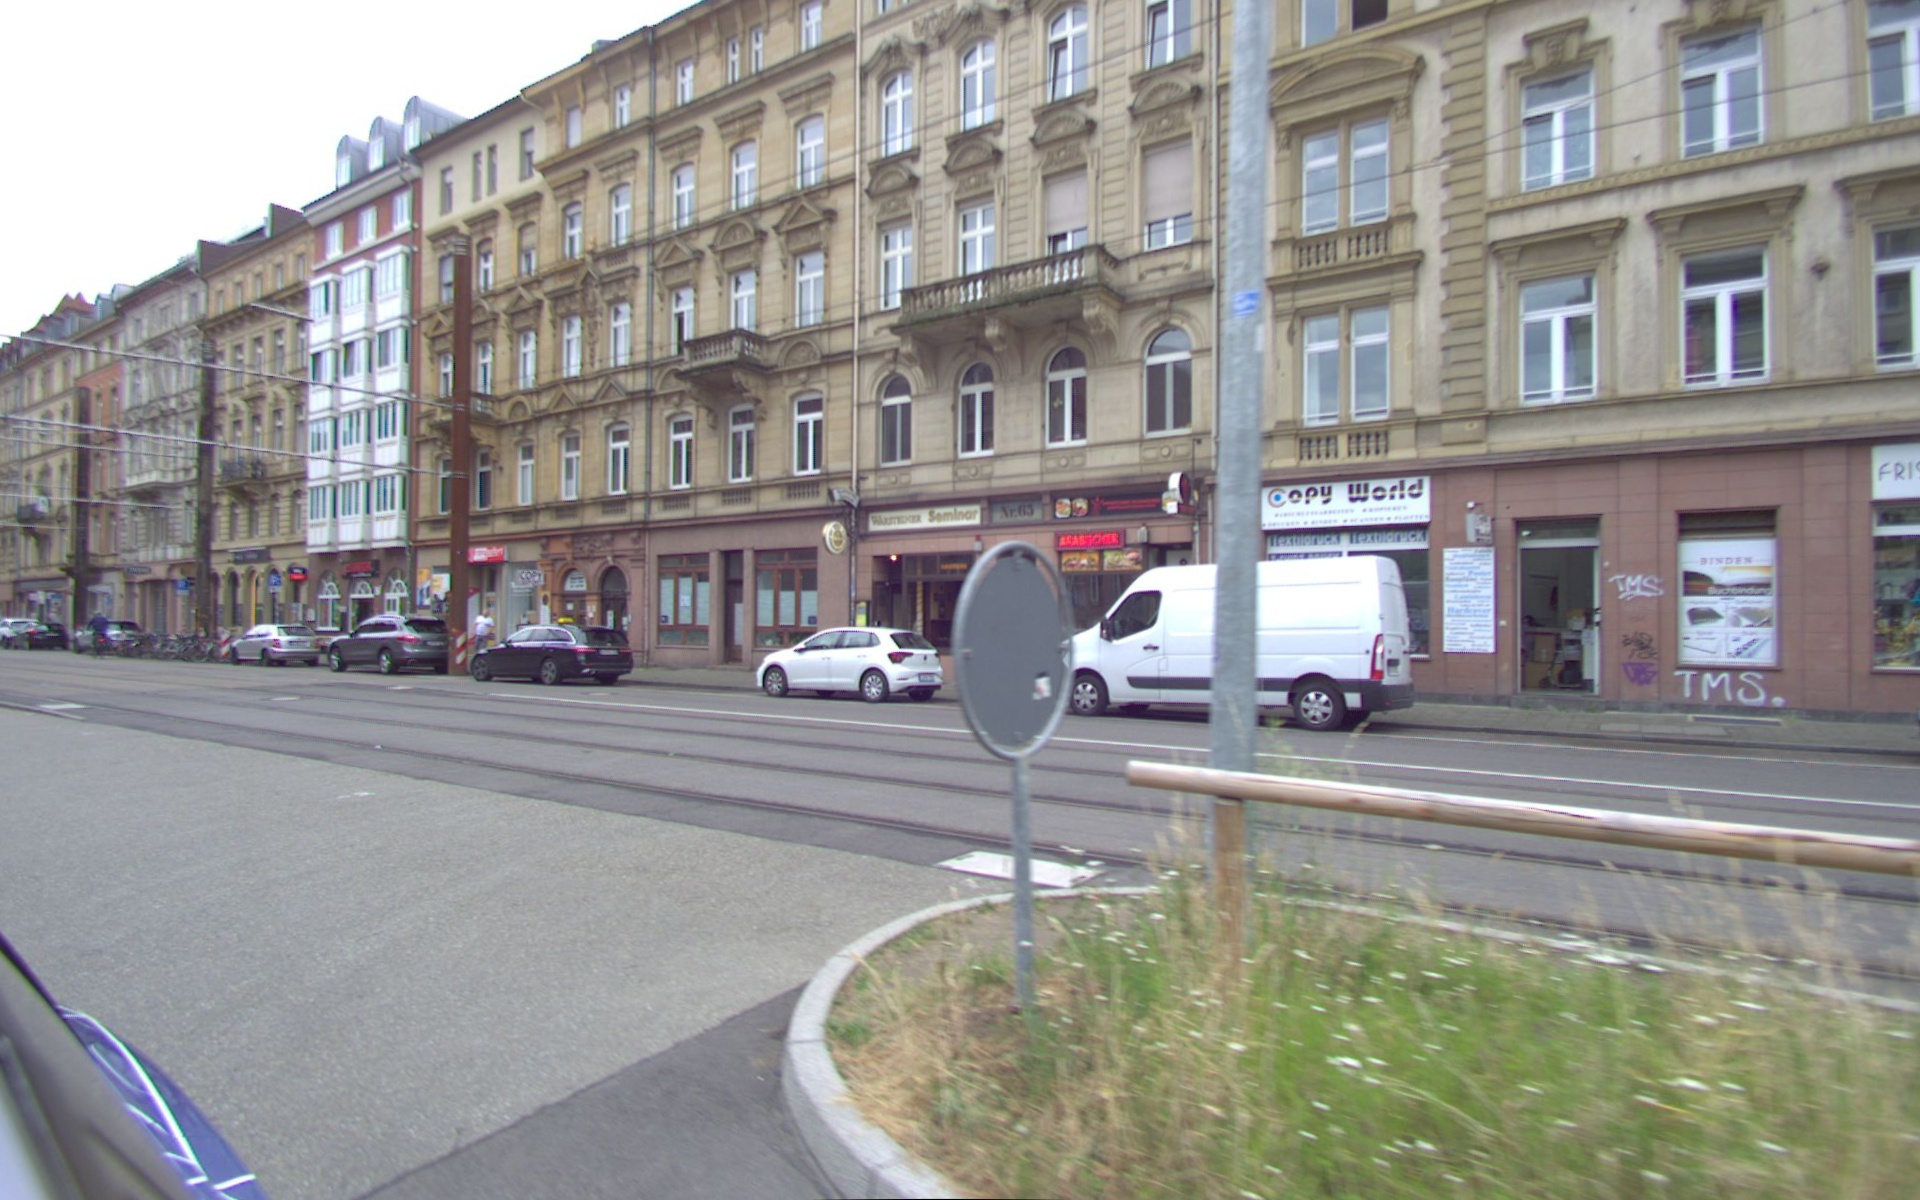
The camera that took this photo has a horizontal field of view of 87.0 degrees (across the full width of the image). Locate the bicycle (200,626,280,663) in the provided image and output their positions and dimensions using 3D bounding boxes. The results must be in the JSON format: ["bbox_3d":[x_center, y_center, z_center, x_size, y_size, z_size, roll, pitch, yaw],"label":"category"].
[{"bbox_3d":[-26.446,1.645,37.215,0.665,1.339,2.262,-1,-4,34],"label":"bicycle"}]

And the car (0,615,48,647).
[{"bbox_3d":[-50.729,1.681,54.295,4.035,1.685,1.729,-1,-3,34],"label":"car"}]

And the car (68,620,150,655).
[{"bbox_3d":[-38.627,1.701,45.890,4.214,1.545,1.729,-1,-3,34],"label":"car"}]

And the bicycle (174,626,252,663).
[{"bbox_3d":[-28.582,1.718,38.741,0.665,1.339,2.262,-1,-4,34],"label":"bicycle"}]

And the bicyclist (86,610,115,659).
[{"bbox_3d":[-34.092,1.353,40.148,1.026,1.897,0.639,-1,-1,36],"label":"bicyclist"}]

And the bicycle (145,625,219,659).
[{"bbox_3d":[-31.472,1.707,40.972,0.665,1.339,2.262,-1,-4,34],"label":"bicycle"}]

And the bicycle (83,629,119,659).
[{"bbox_3d":[-34.066,1.737,40.129,2.041,1.183,0.579,-1,-3,36],"label":"bicycle"}]

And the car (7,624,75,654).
[{"bbox_3d":[-46.968,2.001,51.711,3.911,1.500,1.728,-1,-3,35],"label":"car"}]

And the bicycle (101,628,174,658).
[{"bbox_3d":[-34.941,1.850,43.036,0.703,1.212,2.262,-1,-4,34],"label":"bicycle"}]

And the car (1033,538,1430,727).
[{"bbox_3d":[4.116,0.522,15.843,5.650,2.506,2.036,-1,-4,34],"label":"car"}]

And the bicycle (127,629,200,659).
[{"bbox_3d":[-33.090,1.826,42.080,0.665,1.212,2.262,-1,-4,34],"label":"bicycle"}]

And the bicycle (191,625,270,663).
[{"bbox_3d":[-27.064,1.647,37.588,0.520,1.339,2.262,-1,-4,34],"label":"bicycle"}]

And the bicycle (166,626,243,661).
[{"bbox_3d":[-29.255,1.701,39.223,0.665,1.339,2.262,-1,-4,34],"label":"bicycle"}]

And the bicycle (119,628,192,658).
[{"bbox_3d":[-33.750,1.816,42.486,0.703,1.212,2.262,-1,-4,34],"label":"bicycle"}]

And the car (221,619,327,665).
[{"bbox_3d":[-24.032,1.467,35.418,3.909,1.500,1.729,-1,-3,34],"label":"car"}]

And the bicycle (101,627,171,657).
[{"bbox_3d":[-35.428,1.784,43.538,0.546,1.212,2.263,-1,-1,34],"label":"bicycle"}]

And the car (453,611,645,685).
[{"bbox_3d":[-10.365,1.194,25.404,5.037,1.702,1.904,-1,-4,33],"label":"car"}]

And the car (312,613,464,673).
[{"bbox_3d":[-17.368,1.294,30.654,5.014,1.703,1.799,-1,-3,32],"label":"car"}]

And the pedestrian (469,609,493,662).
[{"bbox_3d":[-16.305,1.202,34.458,0.643,1.796,0.788,0,-1,-19],"label":"pedestrian"}]

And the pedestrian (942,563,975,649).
[{"bbox_3d":[-0.022,0.148,24.270,0.738,2.029,0.708,-1,-1,4],"label":"pedestrian"}]

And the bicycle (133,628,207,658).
[{"bbox_3d":[-32.503,1.789,41.677,0.665,1.212,2.262,-1,-4,34],"label":"bicycle"}]

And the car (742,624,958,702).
[{"bbox_3d":[-2.266,1.233,20.410,4.152,1.434,1.756,-1,-4,33],"label":"car"}]

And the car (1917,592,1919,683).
[{"bbox_3d":[12.795,0.772,10.004,4.507,1.879,1.887,-1,-3,33],"label":"car"}]
